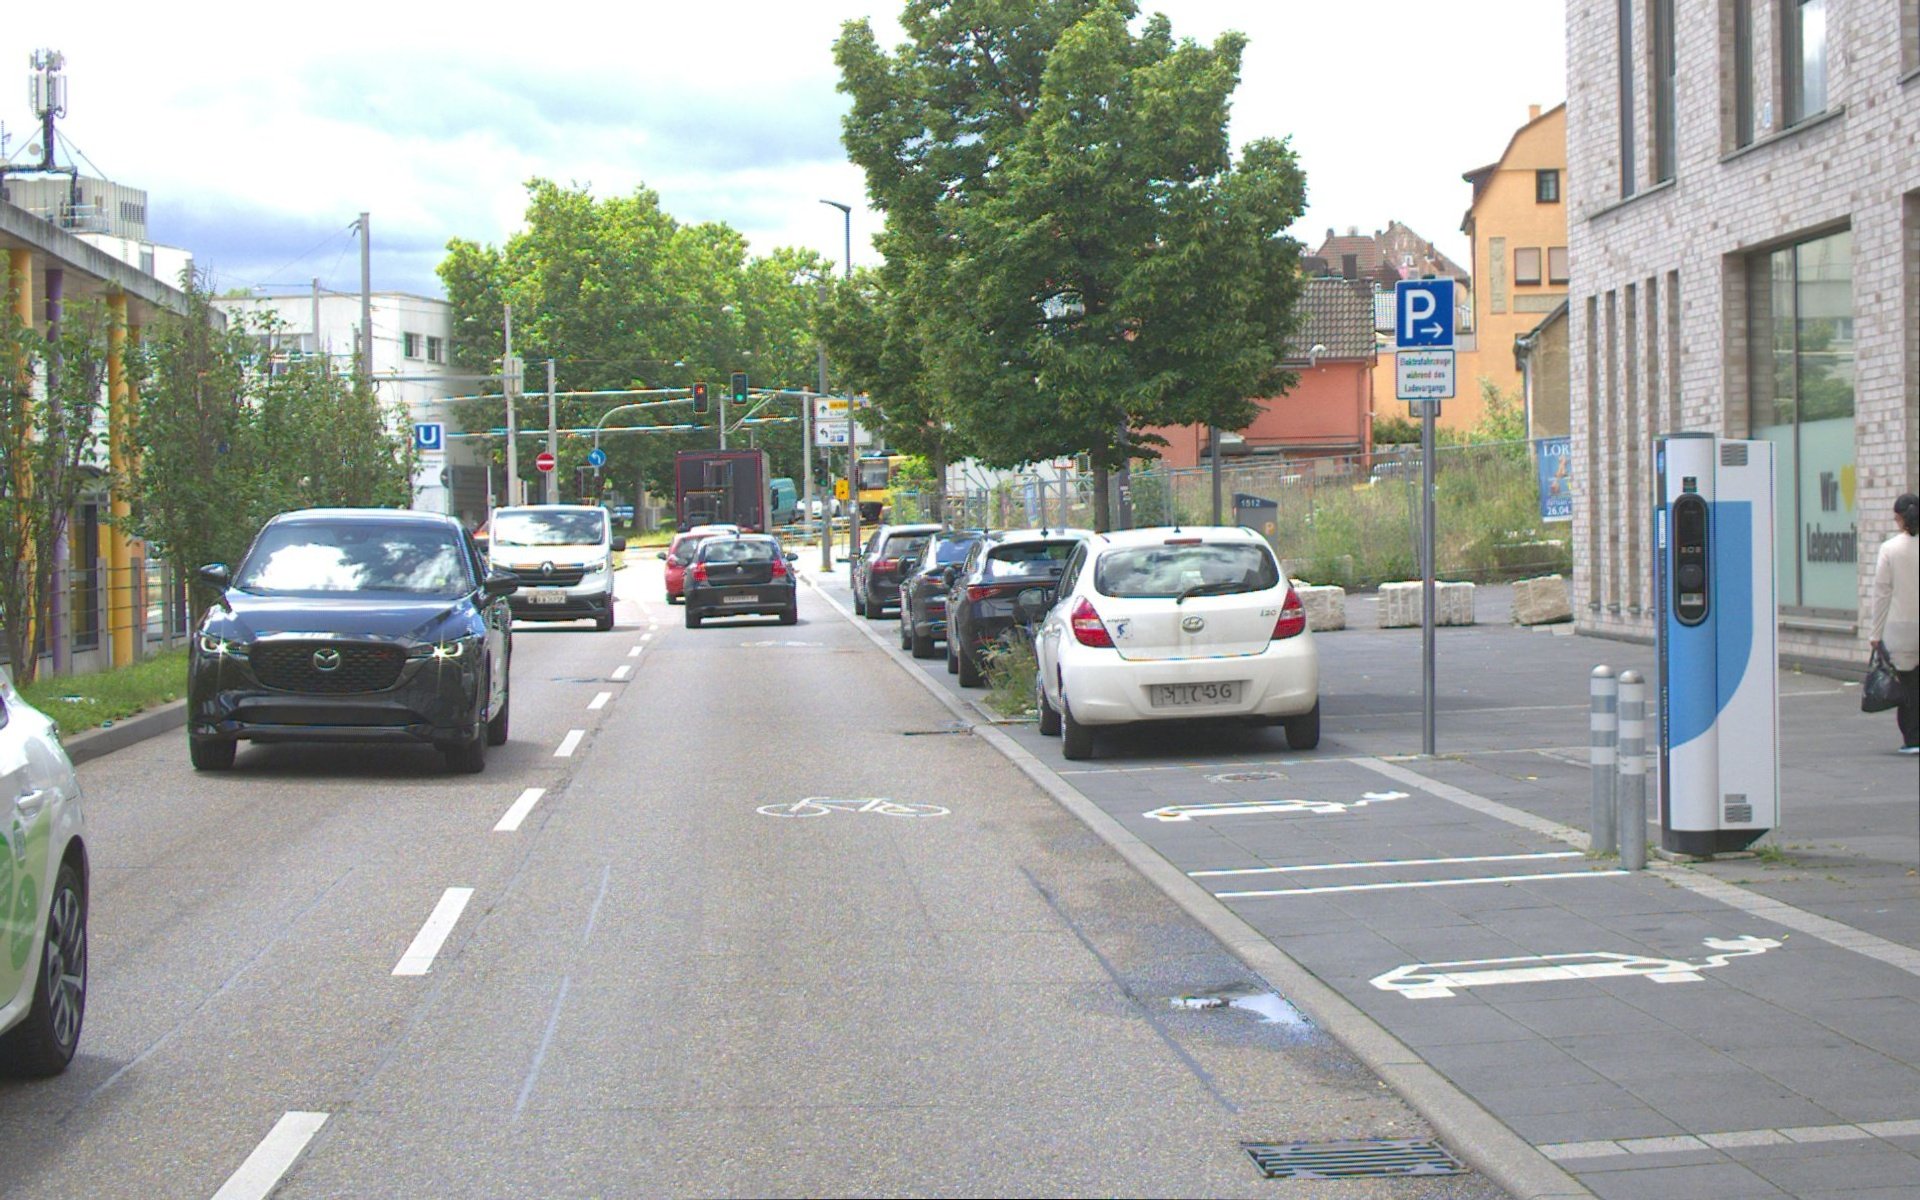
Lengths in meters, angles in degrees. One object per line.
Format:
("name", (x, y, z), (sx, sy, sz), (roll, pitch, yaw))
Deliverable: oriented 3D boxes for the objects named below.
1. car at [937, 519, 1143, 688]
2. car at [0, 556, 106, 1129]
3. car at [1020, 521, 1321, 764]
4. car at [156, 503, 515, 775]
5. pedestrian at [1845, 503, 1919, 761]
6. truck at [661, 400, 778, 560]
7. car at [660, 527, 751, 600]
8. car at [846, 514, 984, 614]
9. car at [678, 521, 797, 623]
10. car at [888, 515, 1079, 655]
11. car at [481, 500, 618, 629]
("car", (0.714, -0.015, 33.292), (1.692, 1.456, 4.147), (-3, 1, -2))
("car", (-3.344, 0.638, 8.177), (1.811, 1.464, 3.908), (0, 1, -2))
("car", (1.378, 0.226, 23.865), (1.692, 1.478, 3.798), (-3, 1, -2))
("car", (-3.978, 0.189, 22.573), (1.919, 1.599, 4.628), (0, 1, -5))
("pedestrian", (5.587, 0.172, 20.148), (0.607, 1.467, 0.791), (-2, 1, 5))
("truck", (-7.204, -3.523, 104.113), (3.203, 4.520, 9.029), (0, 0, -2))
("car", (-5.287, -0.784, 71.127), (1.711, 1.388, 3.810), (-2, 2, -6))
("car", (-0.749, -0.601, 54.423), (1.781, 1.446, 4.477), (-3, 2, -5))
("car", (-3.508, -0.465, 53.667), (1.726, 1.451, 3.809), (-2, 2, -5))
("car", (0.208, -0.213, 39.800), (1.864, 1.446, 4.644), (-3, 1, -3))
("car", (-6.381, -0.570, 53.394), (2.003, 1.910, 5.066), (0, 1, -7))
